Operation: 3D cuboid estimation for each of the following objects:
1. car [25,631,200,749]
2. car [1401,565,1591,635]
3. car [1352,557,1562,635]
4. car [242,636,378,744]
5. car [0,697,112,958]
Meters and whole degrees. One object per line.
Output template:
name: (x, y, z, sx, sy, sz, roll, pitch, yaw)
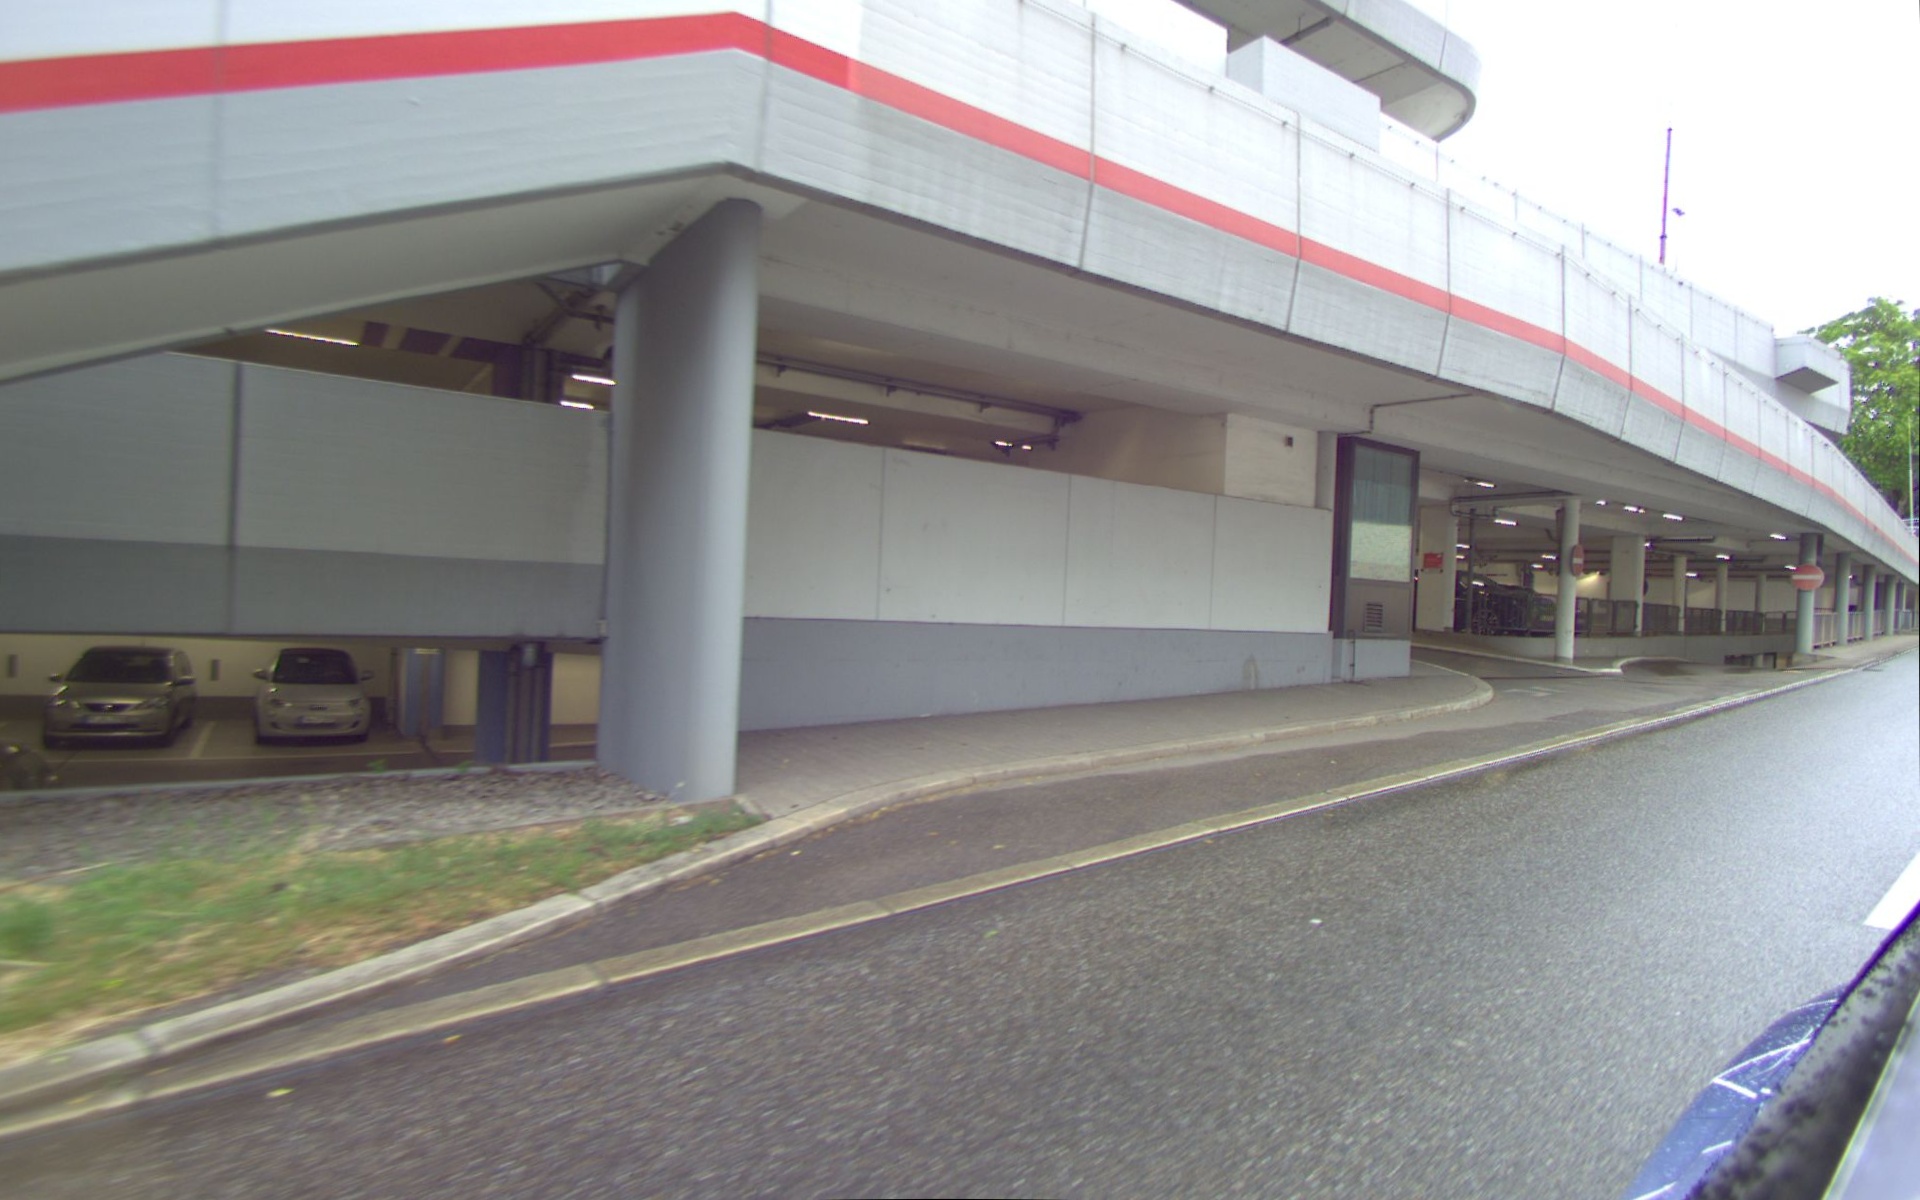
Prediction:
car: (-14.146, 1.428, 17.119, 1.803, 1.560, 4.001, 4, -1, -35)
car: (14.896, -0.022, 28.355, 1.960, 1.682, 4.261, 5, -2, -31)
car: (12.296, -0.115, 25.315, 1.960, 1.682, 4.261, 5, -2, -31)
car: (-11.950, 1.568, 18.544, 1.803, 1.560, 4.001, 4, -1, -35)
car: (-8.875, 1.824, 8.834, 1.803, 1.560, 3.943, 4, -1, -35)
